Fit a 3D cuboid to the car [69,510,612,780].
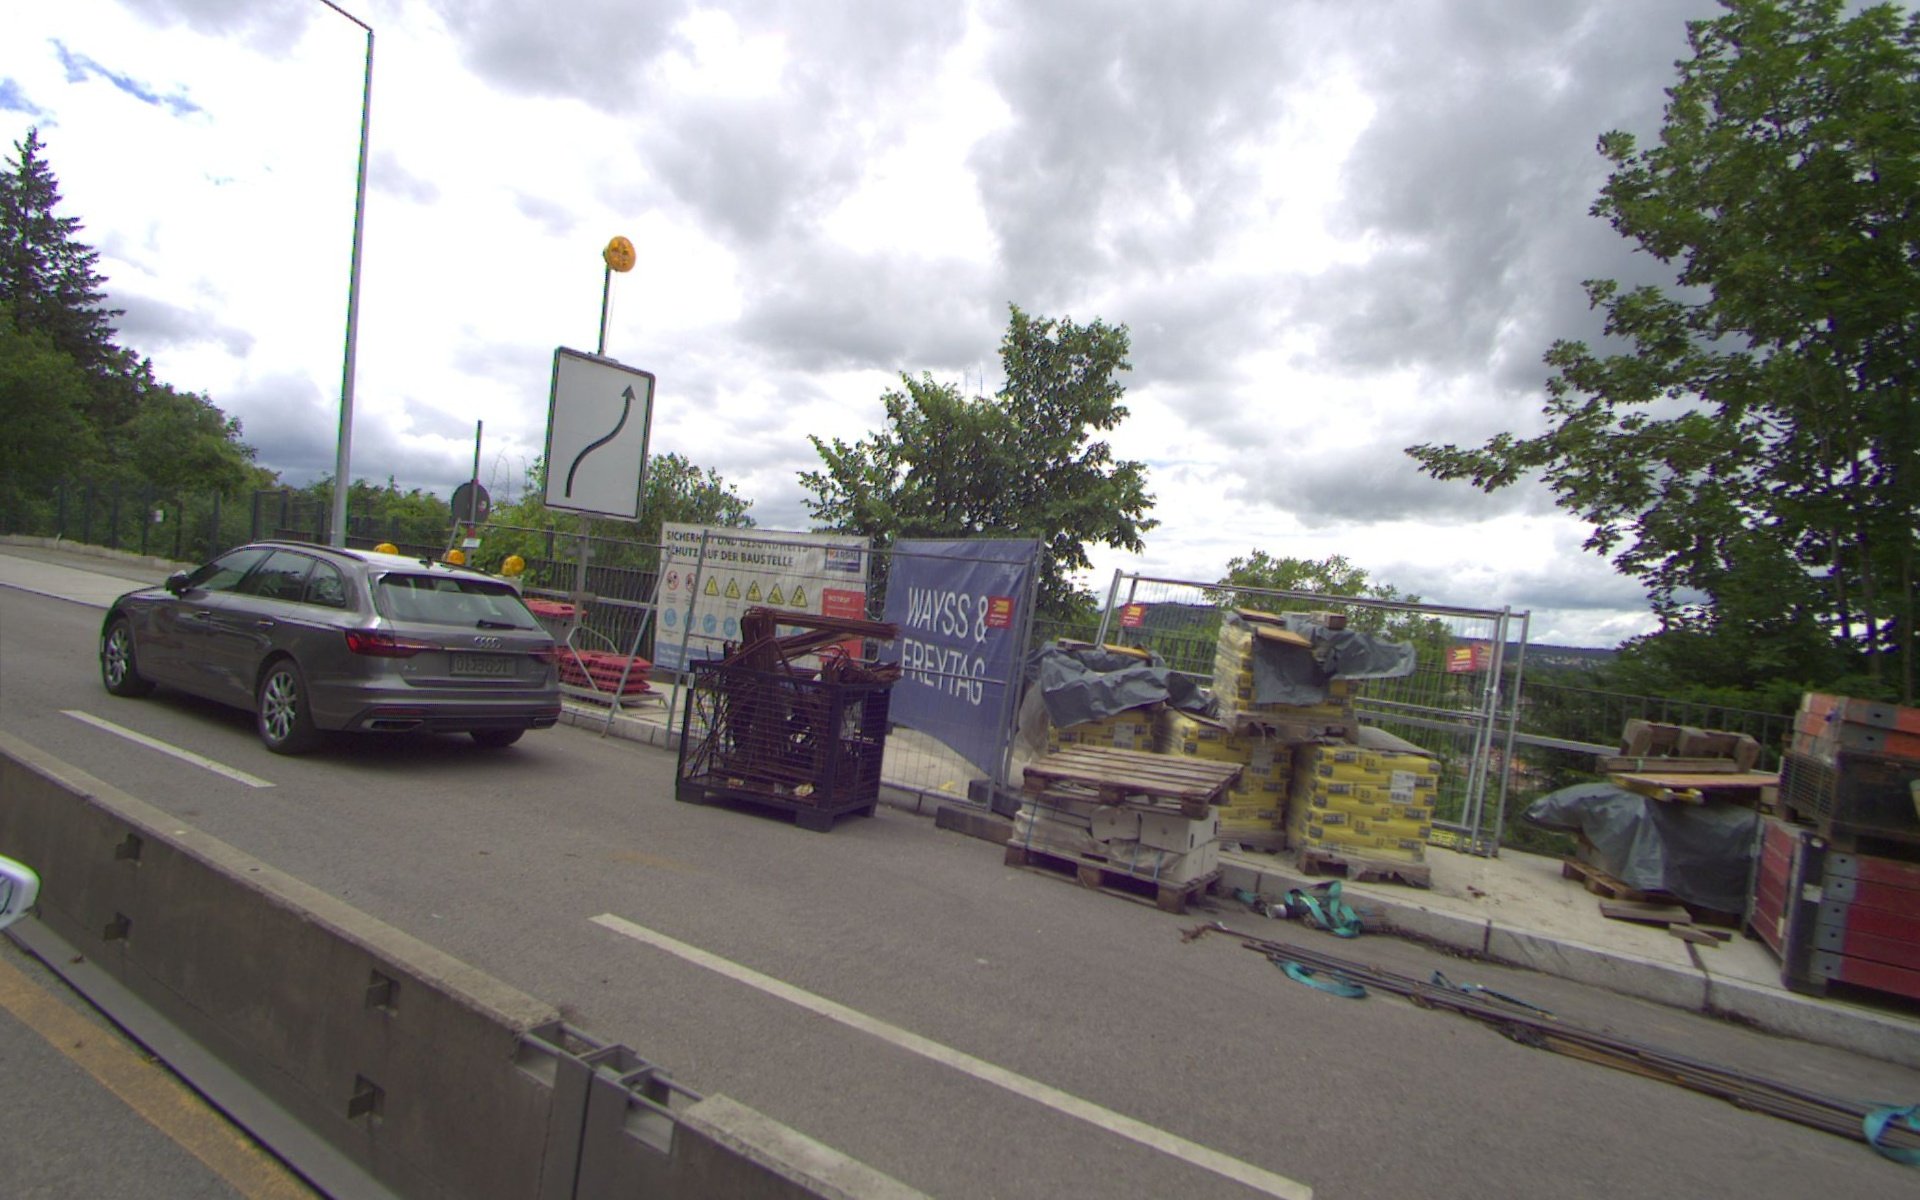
[{"bbox_3d":[-5.182,0.255,8.237,4.551,1.472,1.843,6,-1,32],"label":"car"}]
